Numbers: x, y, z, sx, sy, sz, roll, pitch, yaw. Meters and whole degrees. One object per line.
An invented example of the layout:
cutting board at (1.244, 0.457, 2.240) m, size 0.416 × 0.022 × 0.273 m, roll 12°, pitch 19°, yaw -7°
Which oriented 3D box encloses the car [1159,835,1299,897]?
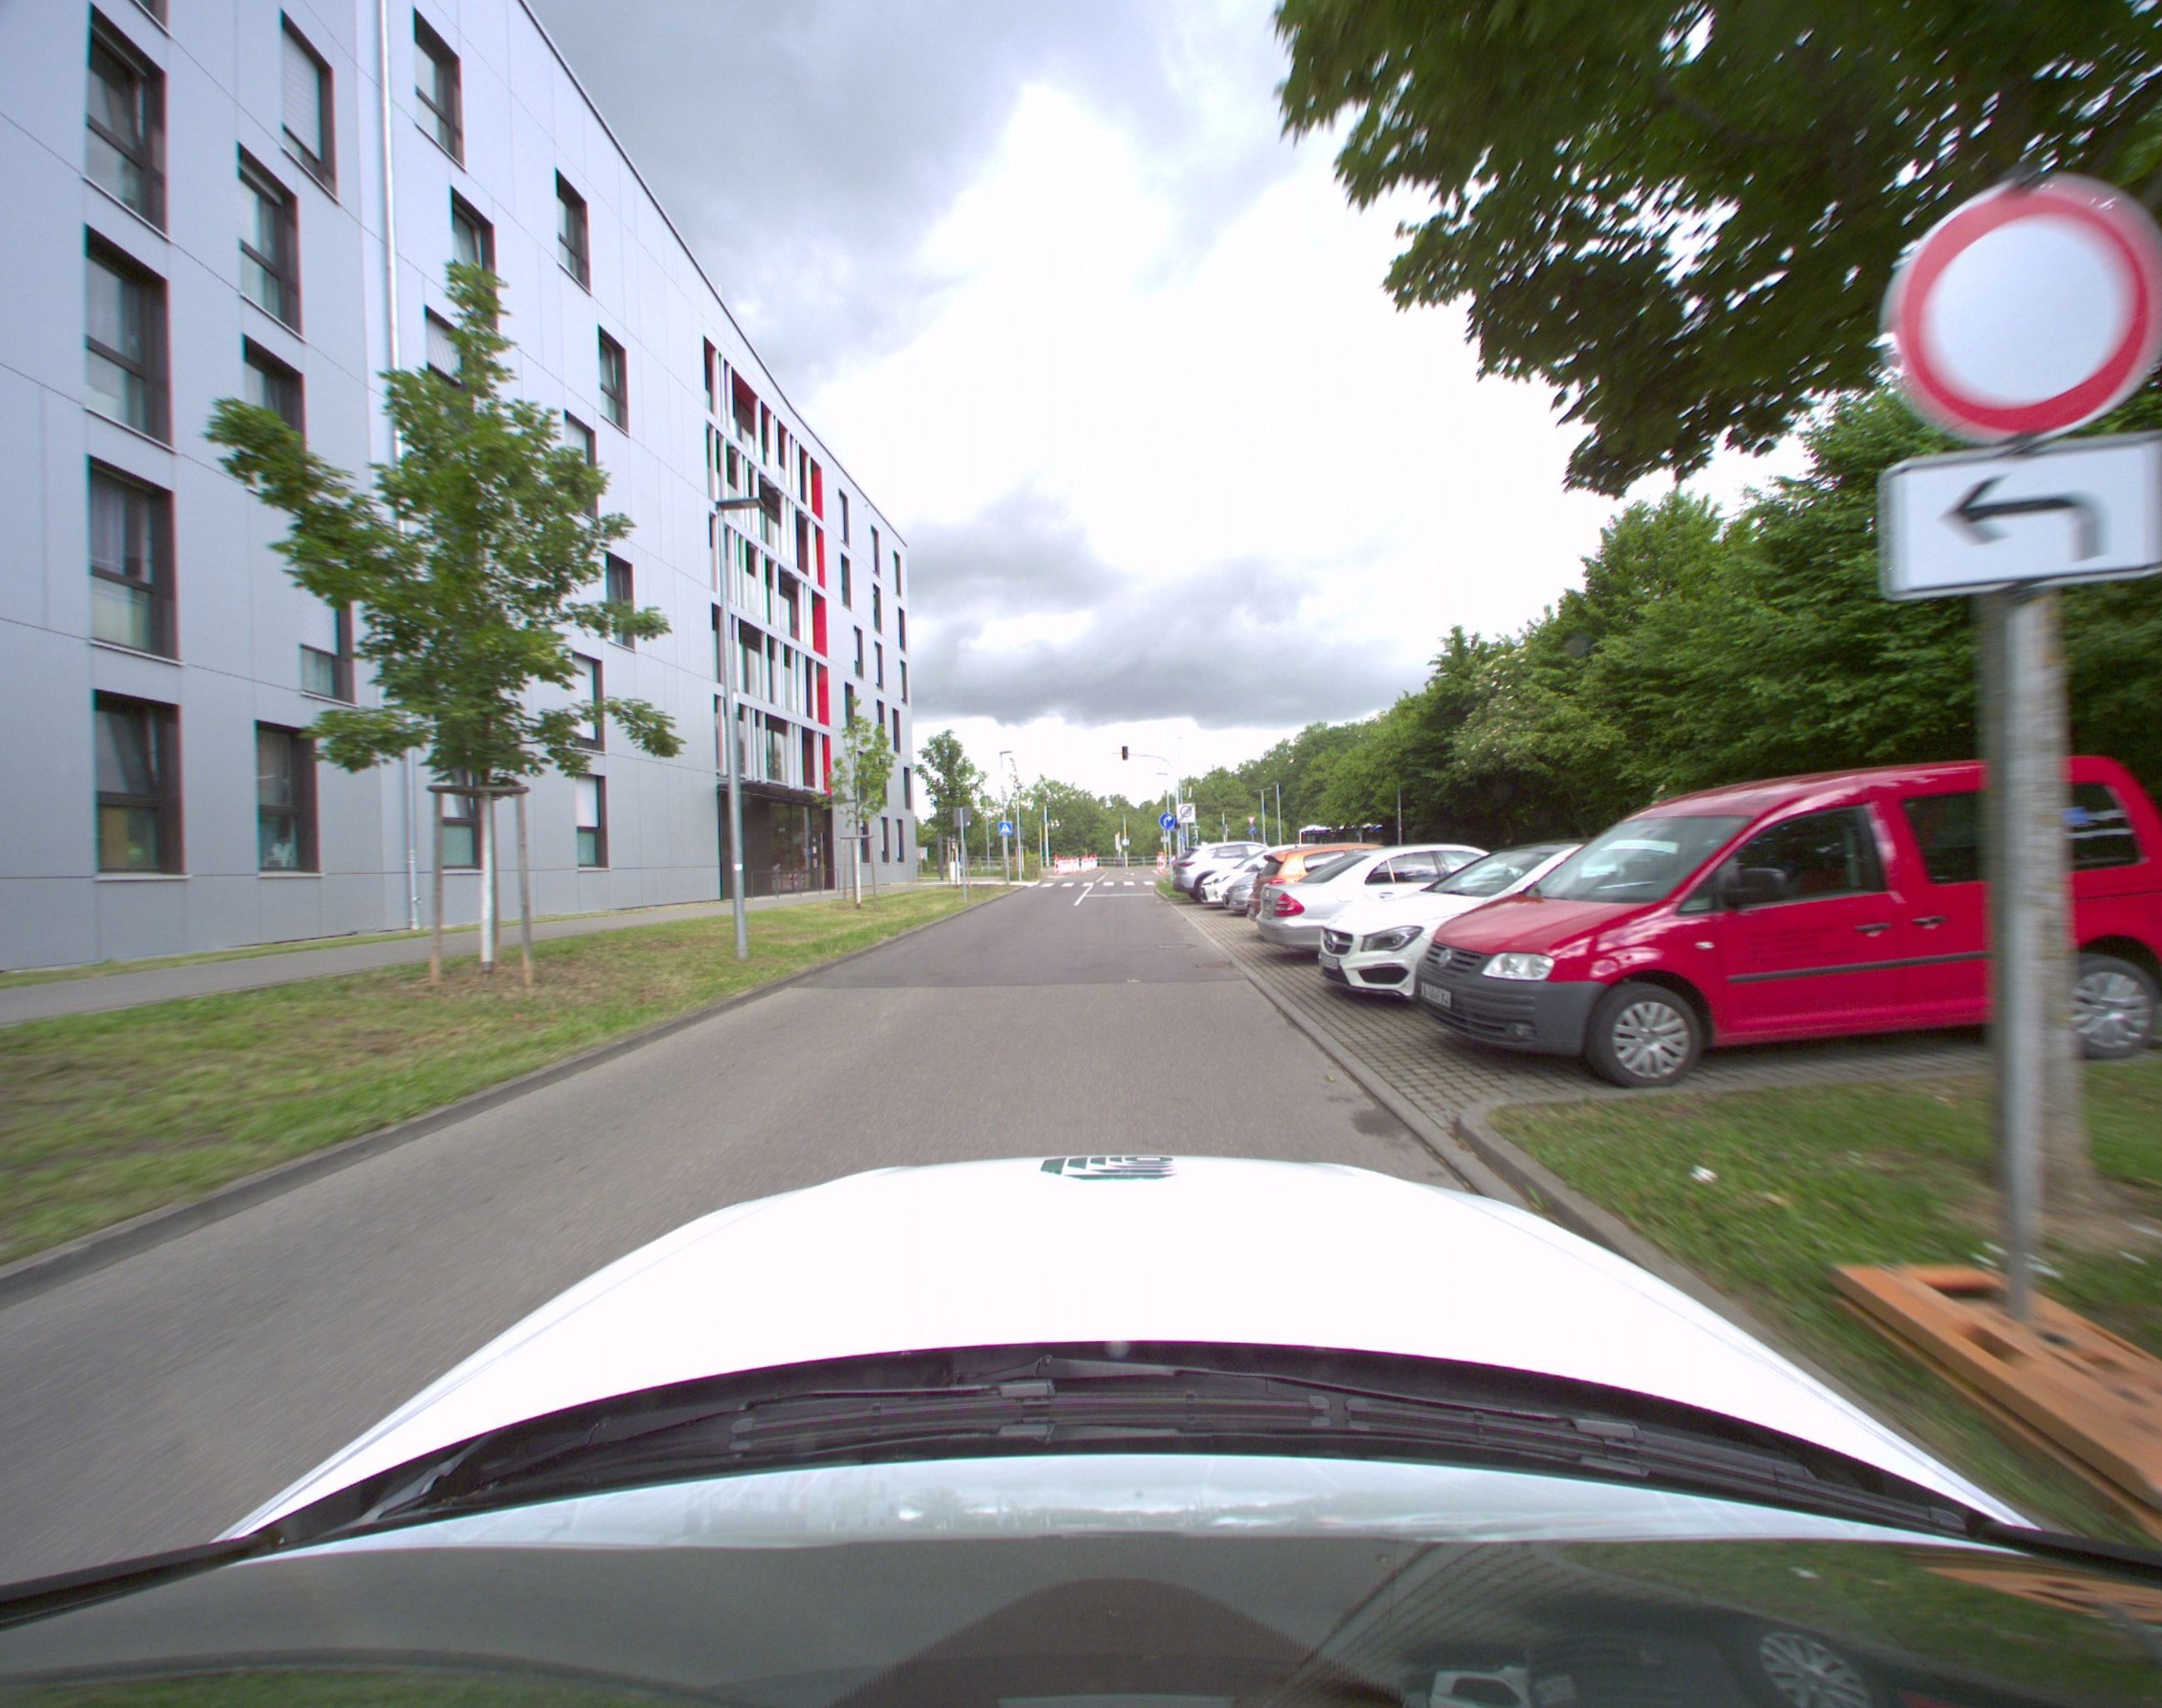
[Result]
car at (4.910, 0.392, 27.536) m, size 4.365 × 1.903 × 1.916 m, roll -1°, pitch 0°, yaw 0°

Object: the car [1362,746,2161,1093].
car at (4.476, 0.364, 5.668) m, size 4.365 × 1.904 × 1.936 m, roll -1°, pitch 0°, yaw 0°

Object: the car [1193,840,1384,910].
car at (5.174, 0.508, 20.724) m, size 4.365 × 1.582 × 1.916 m, roll -1°, pitch 0°, yaw 0°

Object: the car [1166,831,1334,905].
car at (4.711, 0.380, 23.181) m, size 4.365 × 1.903 × 1.916 m, roll -1°, pitch 0°, yaw 0°

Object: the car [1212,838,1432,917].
car at (5.295, 0.500, 18.311) m, size 4.365 × 1.582 × 1.916 m, roll -1°, pitch 0°, yaw 0°

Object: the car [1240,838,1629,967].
car at (4.503, 0.584, 10.881) m, size 4.365 × 1.475 × 1.916 m, roll -1°, pitch 0°, yaw 0°

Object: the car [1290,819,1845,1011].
car at (4.507, 0.543, 8.091) m, size 4.365 × 1.573 × 1.916 m, roll -1°, pitch -1°, yaw 0°

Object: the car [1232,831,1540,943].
car at (4.855, 0.505, 13.437) m, size 4.365 × 1.617 × 1.916 m, roll -1°, pitch 0°, yaw 0°
